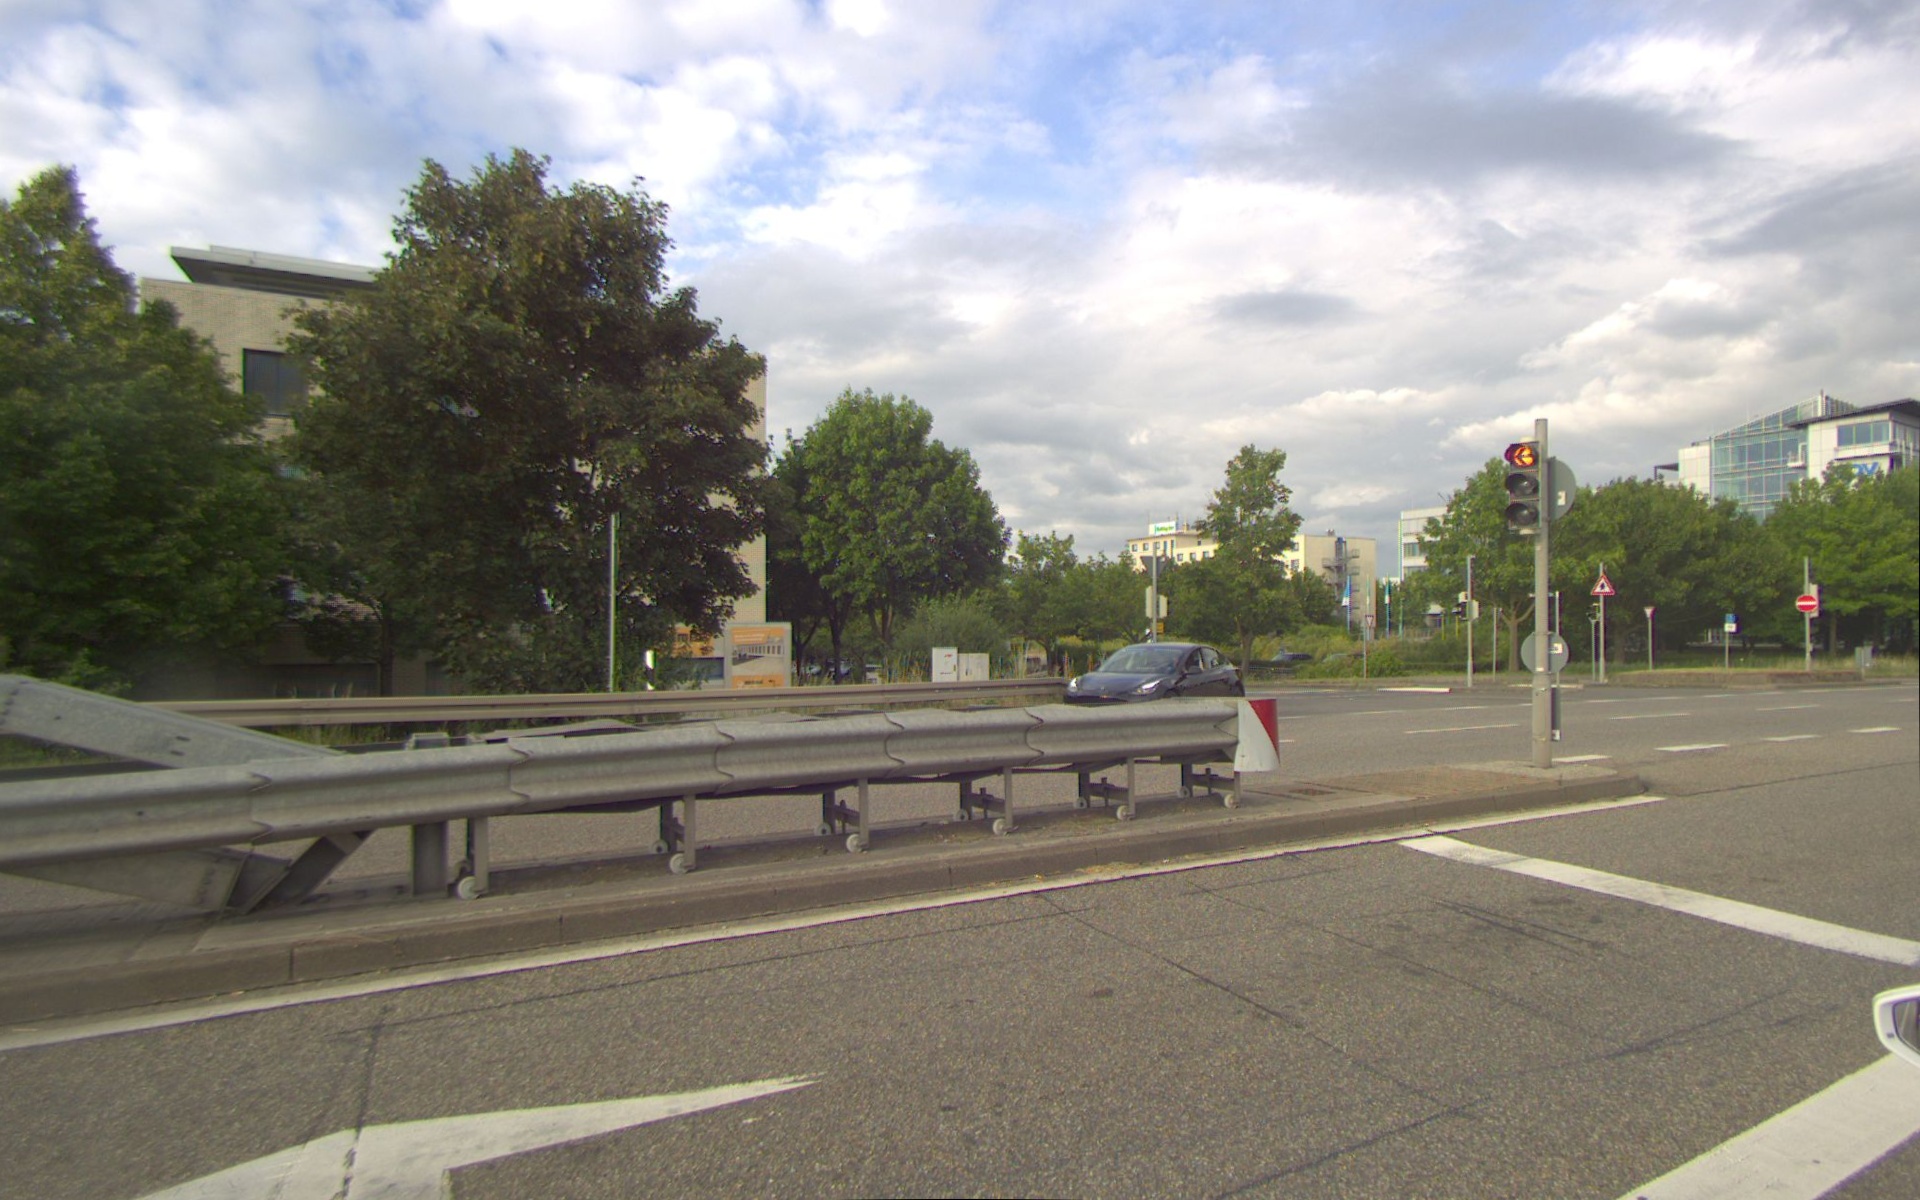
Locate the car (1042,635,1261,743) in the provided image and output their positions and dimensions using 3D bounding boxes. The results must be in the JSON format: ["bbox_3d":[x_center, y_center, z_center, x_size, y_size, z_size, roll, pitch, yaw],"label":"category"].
[{"bbox_3d":[3.384,1.389,17.119,1.891,1.476,4.356,2,0,37],"label":"car"}]

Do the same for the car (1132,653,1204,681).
[{"bbox_3d":[11.173,3.623,54.178,1.571,1.359,3.716,1,-5,-35],"label":"car"}]
